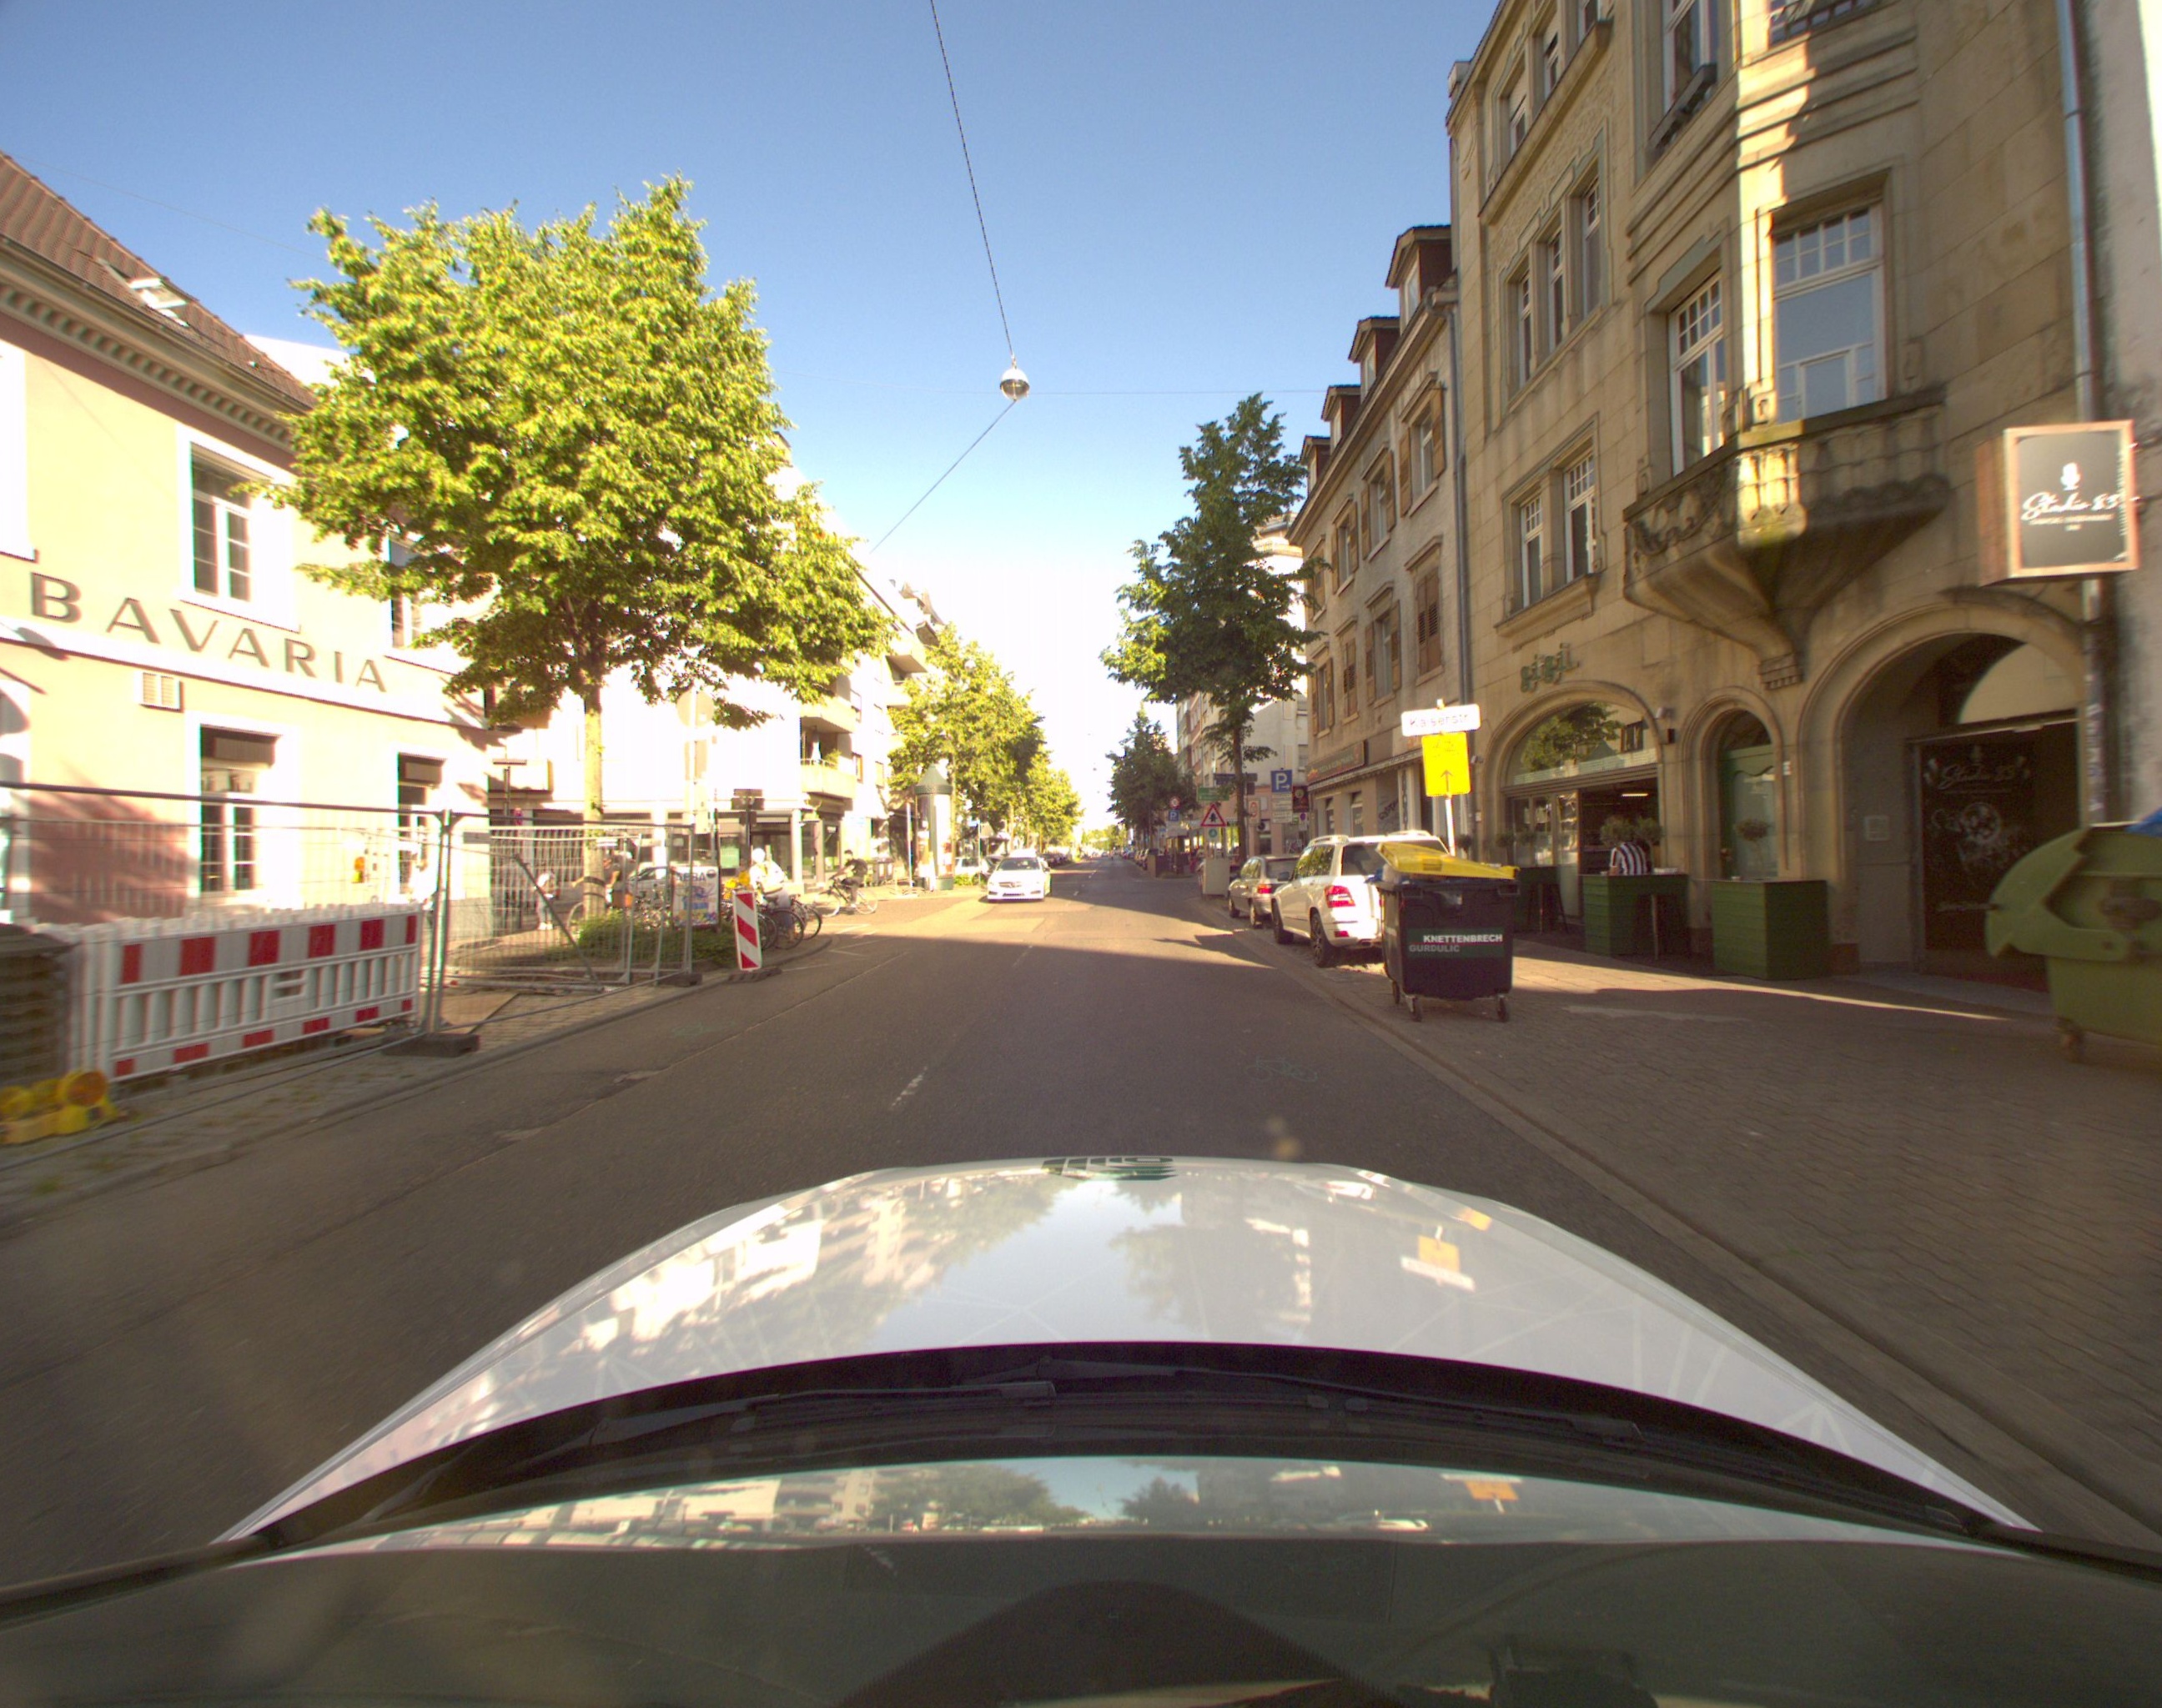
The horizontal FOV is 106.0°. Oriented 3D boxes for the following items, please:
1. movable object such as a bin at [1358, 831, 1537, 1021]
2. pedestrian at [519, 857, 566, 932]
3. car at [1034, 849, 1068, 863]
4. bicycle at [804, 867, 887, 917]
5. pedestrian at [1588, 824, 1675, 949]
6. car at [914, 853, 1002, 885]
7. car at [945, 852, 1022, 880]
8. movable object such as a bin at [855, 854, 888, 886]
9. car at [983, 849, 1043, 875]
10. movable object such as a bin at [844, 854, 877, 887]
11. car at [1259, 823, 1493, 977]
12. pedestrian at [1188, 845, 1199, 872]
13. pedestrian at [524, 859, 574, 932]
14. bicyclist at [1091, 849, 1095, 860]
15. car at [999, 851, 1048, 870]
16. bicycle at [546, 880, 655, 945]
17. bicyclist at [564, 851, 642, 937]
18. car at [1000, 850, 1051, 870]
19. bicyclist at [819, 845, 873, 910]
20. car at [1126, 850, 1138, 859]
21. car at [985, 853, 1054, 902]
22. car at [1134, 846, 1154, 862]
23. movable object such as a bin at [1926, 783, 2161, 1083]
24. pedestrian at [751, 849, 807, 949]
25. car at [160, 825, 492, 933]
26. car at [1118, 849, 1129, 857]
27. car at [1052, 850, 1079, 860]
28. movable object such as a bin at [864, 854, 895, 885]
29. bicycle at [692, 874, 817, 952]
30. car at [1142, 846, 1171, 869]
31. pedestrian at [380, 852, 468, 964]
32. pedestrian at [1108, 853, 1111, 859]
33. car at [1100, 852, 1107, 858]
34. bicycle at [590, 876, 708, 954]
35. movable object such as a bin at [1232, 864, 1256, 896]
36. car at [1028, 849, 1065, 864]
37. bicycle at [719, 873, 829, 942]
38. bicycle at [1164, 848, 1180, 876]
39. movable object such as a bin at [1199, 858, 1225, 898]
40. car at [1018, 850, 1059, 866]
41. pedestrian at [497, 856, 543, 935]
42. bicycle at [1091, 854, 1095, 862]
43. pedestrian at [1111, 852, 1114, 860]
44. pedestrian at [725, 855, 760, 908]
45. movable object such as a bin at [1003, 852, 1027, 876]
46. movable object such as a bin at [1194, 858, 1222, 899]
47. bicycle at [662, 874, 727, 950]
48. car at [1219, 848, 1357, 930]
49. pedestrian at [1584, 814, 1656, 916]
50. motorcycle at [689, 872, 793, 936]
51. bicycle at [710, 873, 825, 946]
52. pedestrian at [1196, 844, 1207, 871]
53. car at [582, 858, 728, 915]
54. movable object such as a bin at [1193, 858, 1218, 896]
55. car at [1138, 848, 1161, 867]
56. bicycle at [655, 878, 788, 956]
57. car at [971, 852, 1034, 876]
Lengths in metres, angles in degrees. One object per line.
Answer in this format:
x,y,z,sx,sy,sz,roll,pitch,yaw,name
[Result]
3.297,0.605,7.524,1.135,1.562,1.464,-2,0,10,movable object such as a bin
-13.061,0.967,19.757,0.653,1.760,0.656,-2,0,-6,pedestrian
-3.576,0.240,98.530,3.973,1.500,2.000,-2,0,1,car
-6.368,1.001,22.117,0.712,1.220,2.048,-2,0,41,bicycle
7.138,0.408,10.587,0.608,1.540,0.699,-3,0,2,pedestrian
-5.995,0.716,40.060,3.973,1.390,2.000,-2,0,1,car
-5.437,0.678,45.837,3.973,1.390,2.000,-2,0,1,car
-10.068,0.763,39.199,1.168,1.485,1.315,-2,0,0,movable object such as a bin
-4.886,0.567,58.746,3.966,1.694,2.004,-2,0,6,car
-10.197,0.752,37.745,1.136,1.485,1.236,-2,0,0,movable object such as a bin
3.944,0.523,11.827,1.815,1.679,4.604,-4,0,3,car
6.927,0.252,50.303,0.545,1.649,0.664,-2,0,0,pedestrian
-12.555,0.980,19.227,0.650,1.667,0.658,-2,0,12,pedestrian
1.758,0.092,119.129,0.558,1.548,0.728,-1,-1,2,bicyclist
-4.893,0.567,69.850,3.973,1.500,2.000,-2,-1,1,car
-9.134,1.081,15.585,0.763,1.059,1.958,-2,0,5,bicycle
-9.125,0.746,15.591,0.763,1.560,1.042,-2,0,5,bicyclist
-4.589,0.477,67.563,3.973,1.500,2.000,-2,0,1,car
-6.374,0.625,22.120,0.712,1.693,1.164,-2,0,41,bicyclist
9.116,0.101,144.692,1.986,1.508,4.001,-1,0,2,car
-1.924,0.703,26.695,1.796,1.435,4.410,-2,0,1,car
6.927,-0.027,89.340,1.986,1.609,4.002,-2,0,2,car
6.446,0.406,4.865,1.201,1.627,1.498,-2,0,0,movable object such as a bin
-5.381,0.771,14.492,0.797,1.707,0.759,-1,0,-31,pedestrian
-21.846,0.630,24.139,6.507,2.718,2.886,-2,0,-24,car
8.585,-0.150,164.161,1.986,1.508,4.001,-1,0,2,car
-2.391,0.174,126.473,3.973,1.500,2.000,-2,0,1,car
-10.068,0.751,40.830,1.168,1.485,1.315,-2,0,0,movable object such as a bin
-5.536,0.991,13.872,1.852,1.252,0.599,-1,0,-6,bicycle
5.810,0.242,63.335,1.986,1.609,4.002,-2,0,2,car
-10.111,0.803,12.559,0.607,1.653,0.814,-2,0,5,pedestrian
4.878,0.405,138.781,0.544,1.026,0.546,-2,0,0,pedestrian
6.356,0.250,227.122,1.785,1.411,4.002,-2,0,2,car
-7.280,1.015,13.743,1.775,1.252,0.602,-1,0,13,bicycle
4.761,0.761,23.857,0.561,0.896,0.628,-2,0,0,movable object such as a bin
-3.890,0.267,92.287,3.973,1.500,2.000,-2,0,1,car
-5.833,1.003,15.536,1.852,1.252,0.599,-1,0,-6,bicycle
4.881,0.419,43.677,0.558,1.441,1.629,-8,0,2,bicycle
3.957,0.716,24.638,0.619,1.179,0.711,-2,0,0,movable object such as a bin
-4.214,0.389,81.516,3.973,1.500,2.000,-2,0,1,car
-12.928,0.936,18.788,0.655,1.760,0.653,-2,0,-16,pedestrian
1.776,0.565,119.109,0.558,1.180,1.629,-1,-1,2,bicycle
5.397,0.321,138.950,0.544,1.472,0.546,-2,0,0,pedestrian
-10.869,0.885,26.129,0.763,1.643,0.694,-2,0,37,pedestrian
-4.244,0.662,52.487,1.329,1.478,1.481,-2,0,1,movable object such as a bin
3.968,0.750,25.477,0.703,1.222,0.681,-2,0,0,movable object such as a bin
-7.059,1.018,14.839,0.603,1.252,1.772,-1,0,-41,bicycle
4.172,0.634,17.145,1.816,1.391,4.302,-4,0,1,car
8.608,0.175,13.031,0.694,1.566,0.613,-3,0,1,pedestrian
-7.050,1.017,16.967,1.852,1.229,0.755,-1,0,-10,motorcycle
-5.707,0.991,14.892,1.852,1.252,0.599,-1,0,-6,bicycle
7.524,0.240,50.913,0.545,1.649,0.665,-2,0,2,pedestrian
-14.094,1.044,27.231,4.000,1.610,1.987,-3,0,-19,car
4.009,0.725,26.218,0.657,1.179,0.739,-2,0,0,movable object such as a bin
6.413,0.297,76.706,1.986,1.609,4.002,-2,0,2,car
-5.792,1.005,13.206,1.852,1.170,0.599,-1,0,-6,bicycle
-5.348,0.673,55.957,3.966,1.457,1.872,-2,0,6,car
